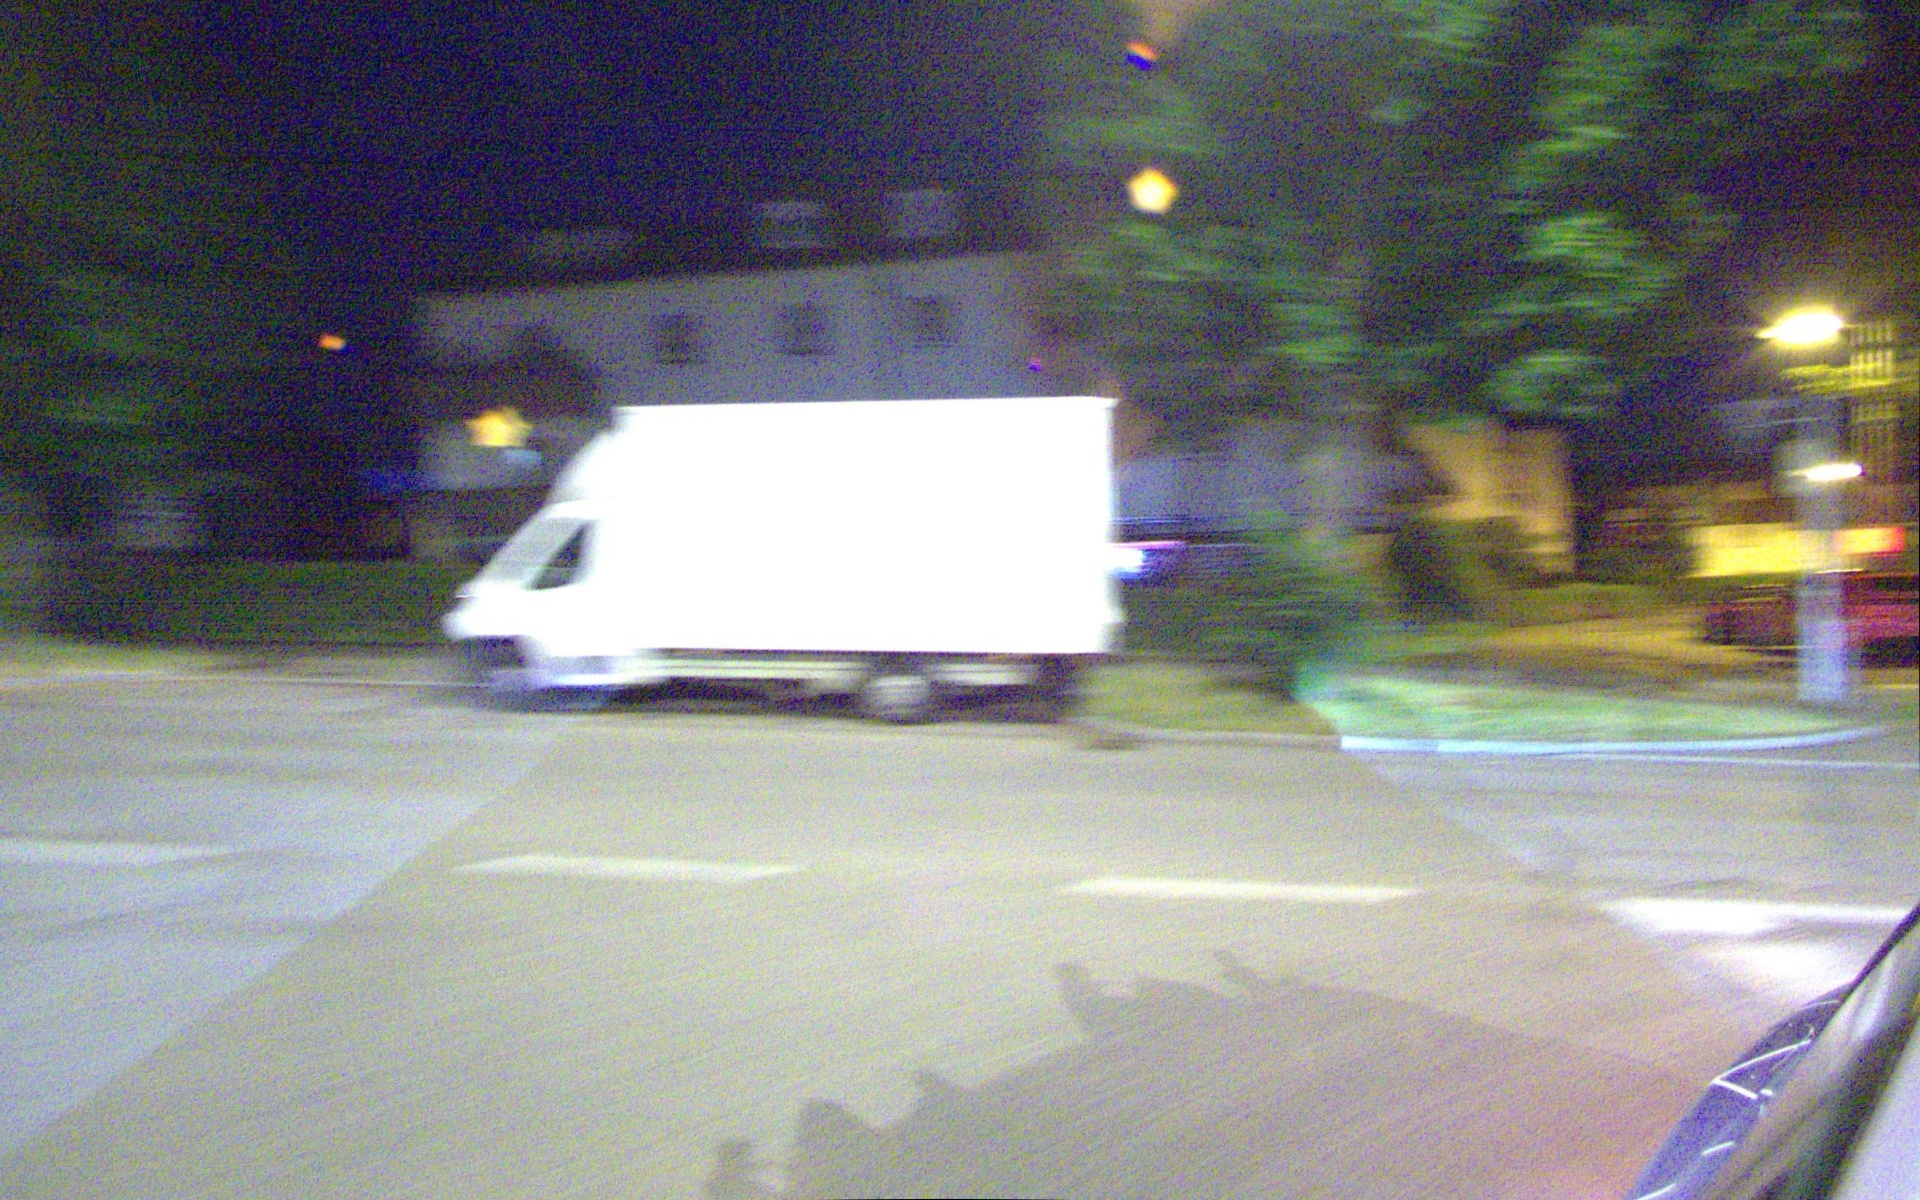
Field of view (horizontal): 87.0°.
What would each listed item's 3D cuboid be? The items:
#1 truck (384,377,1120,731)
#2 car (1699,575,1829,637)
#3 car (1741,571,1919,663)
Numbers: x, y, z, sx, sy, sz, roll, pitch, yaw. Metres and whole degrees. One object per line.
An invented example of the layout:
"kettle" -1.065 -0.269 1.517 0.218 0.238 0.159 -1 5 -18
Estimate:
"truck" -1.891 -0.512 10.634 6.916 3.080 2.770 0 4 7
"car" 19.621 0.110 24.881 1.863 1.405 4.035 -1 0 30
"car" 17.251 0.258 19.472 2.024 1.575 4.235 0 1 15
